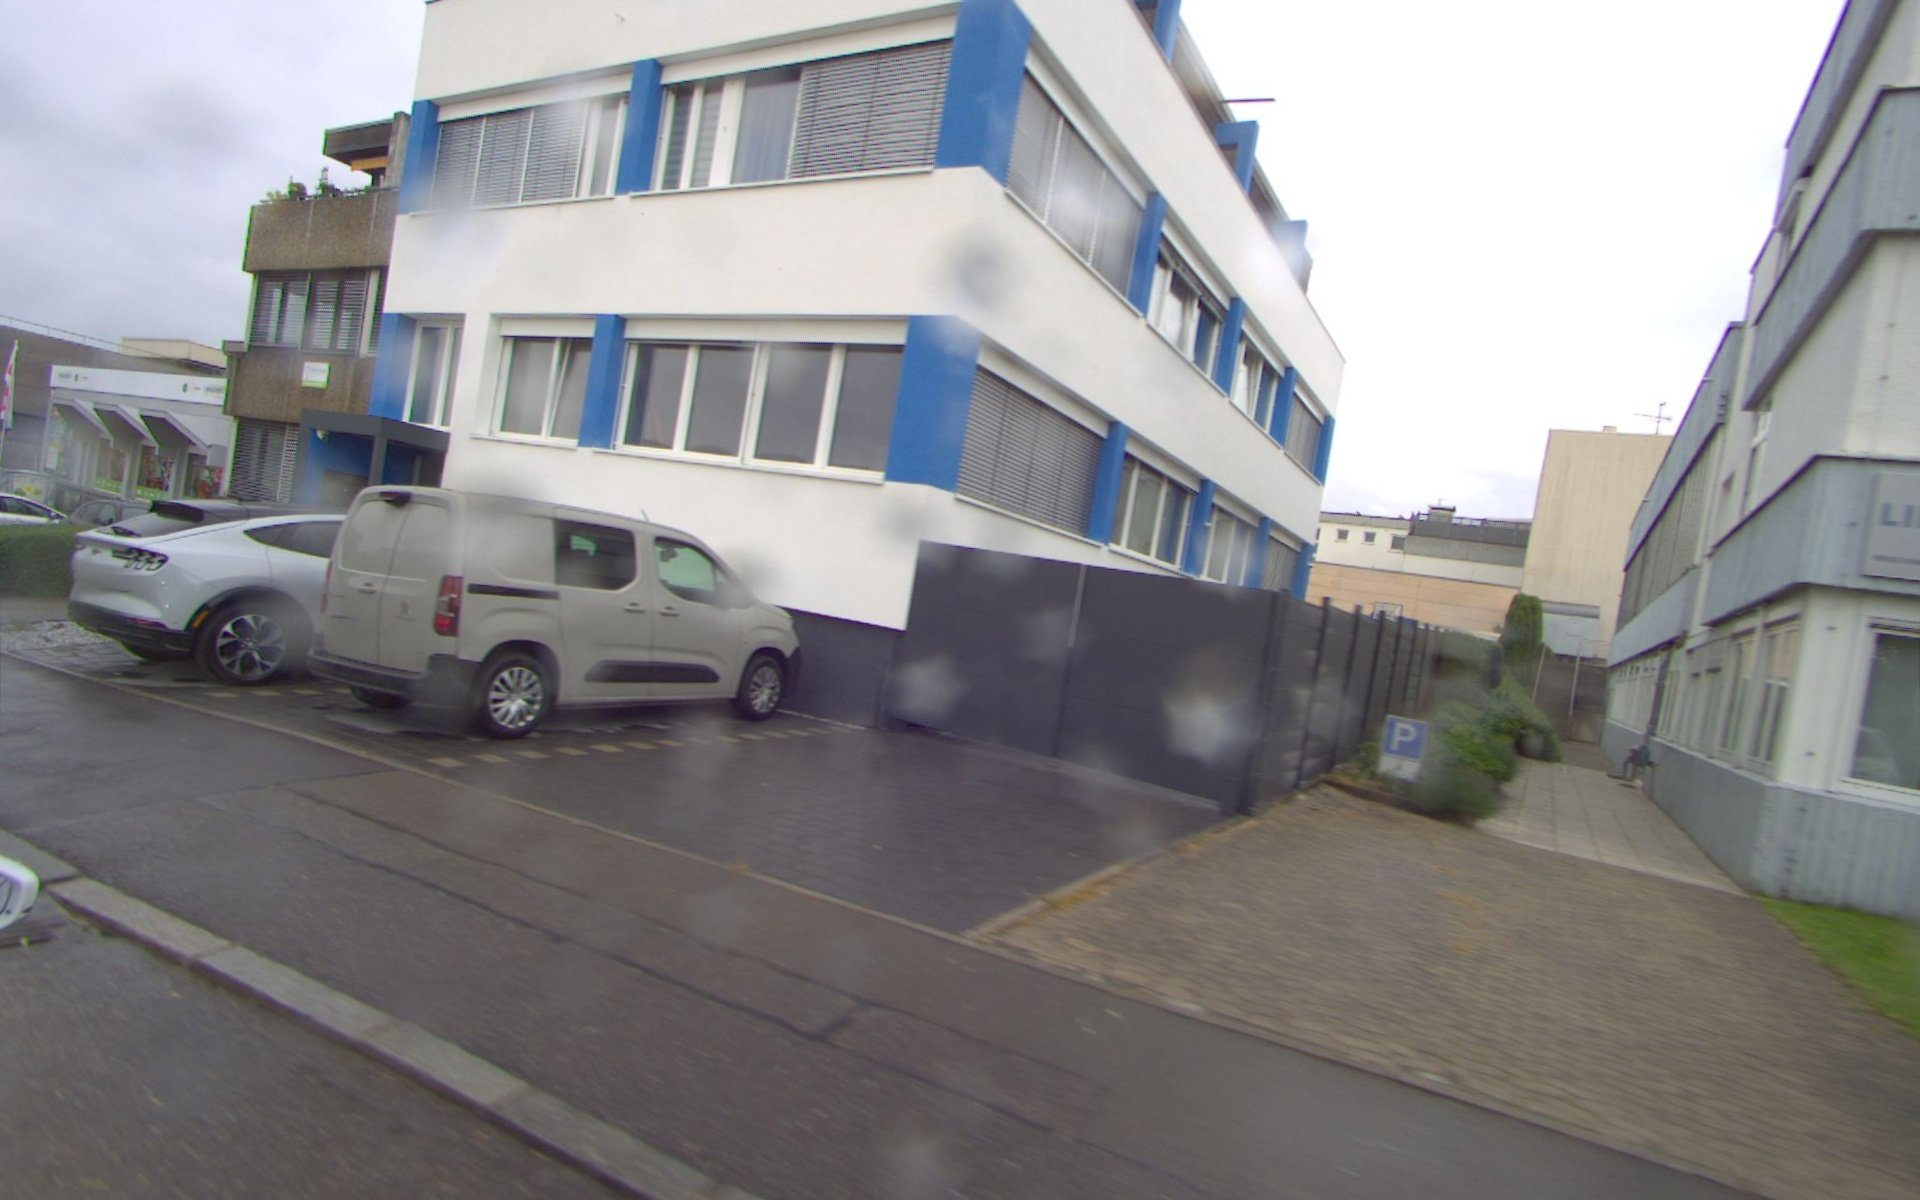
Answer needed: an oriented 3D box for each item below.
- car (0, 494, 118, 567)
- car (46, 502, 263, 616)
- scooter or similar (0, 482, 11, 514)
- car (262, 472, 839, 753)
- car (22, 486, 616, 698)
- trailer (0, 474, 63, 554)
[{"bbox_3d":[-23.401,-1.777,24.381,1.970,1.594,4.123,5,1,30],"label":"car"},{"bbox_3d":[-15.568,-0.810,19.386,4.399,1.771,1.751,5,-1,31],"label":"car"},{"bbox_3d":[-41.486,-4.424,42.874,2.031,1.242,1.063,8,5,34],"label":"scooter or similar"},{"bbox_3d":[-3.274,0.156,9.011,2.053,1.795,4.348,6,0,29],"label":"car"},{"bbox_3d":[-6.076,-0.017,10.201,2.044,1.558,4.601,6,1,30],"label":"car"},{"bbox_3d":[-33.140,-3.102,34.818,4.237,2.447,1.889,7,1,32],"label":"trailer"}]
